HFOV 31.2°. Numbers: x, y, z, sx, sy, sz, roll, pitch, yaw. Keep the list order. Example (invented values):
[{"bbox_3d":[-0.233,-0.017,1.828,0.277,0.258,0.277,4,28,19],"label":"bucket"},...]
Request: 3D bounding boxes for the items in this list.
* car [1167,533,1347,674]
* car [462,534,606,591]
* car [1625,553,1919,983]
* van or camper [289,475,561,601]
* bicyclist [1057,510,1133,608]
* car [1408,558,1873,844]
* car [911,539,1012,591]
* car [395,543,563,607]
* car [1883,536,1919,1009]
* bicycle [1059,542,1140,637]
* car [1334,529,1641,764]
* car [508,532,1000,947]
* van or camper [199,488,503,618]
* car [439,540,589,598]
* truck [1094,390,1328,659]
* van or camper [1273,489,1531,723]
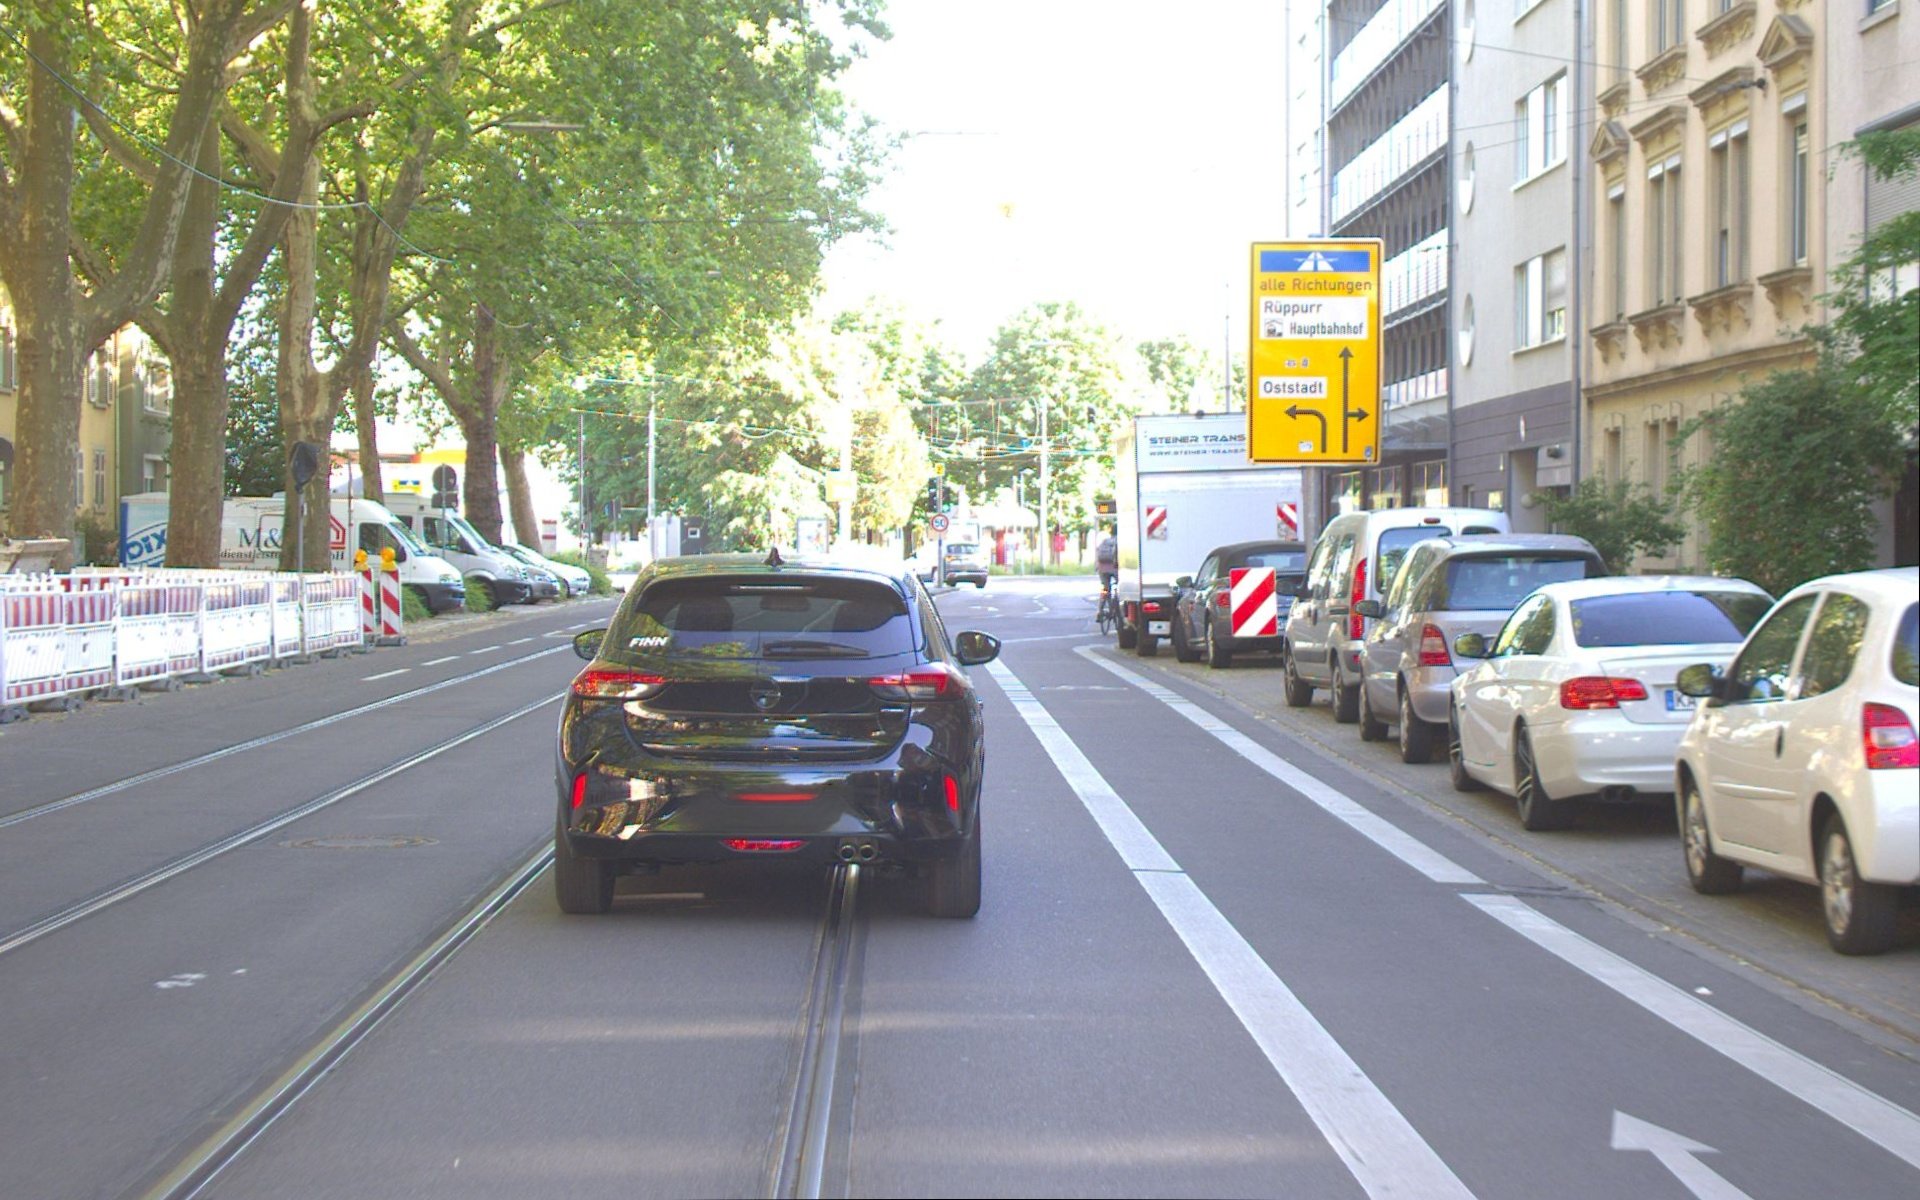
[{"bbox_3d":[3.525,0.005,41.429,1.730,1.552,4.152,-2,1,0],"label":"car"},{"bbox_3d":[-12.732,-1.125,102.882,4.167,1.665,1.965,0,1,-4],"label":"car"},{"bbox_3d":[3.963,0.577,14.298,1.591,1.521,3.835,-1,1,0],"label":"car"},{"bbox_3d":[-12.011,-1.392,77.459,5.723,2.635,2.269,2,1,0],"label":"van or camper"},{"bbox_3d":[2.321,-0.712,59.056,1.090,1.641,1.400,1,1,10],"label":"bicyclist"},{"bbox_3d":[3.825,0.494,20.118,1.659,1.394,4.740,-1,1,-1],"label":"car"},{"bbox_3d":[0.031,-1.220,117.754,1.993,1.690,4.741,-2,1,-19],"label":"car"},{"bbox_3d":[-12.235,-0.638,87.575,3.987,1.510,1.650,2,1,1],"label":"car"},{"bbox_3d":[4.059,0.617,10.070,1.526,1.584,3.752,2,1,-2],"label":"car"},{"bbox_3d":[2.427,-0.205,59.211,0.916,1.555,3.403,1,1,10],"label":"bicycle"},{"bbox_3d":[3.776,0.281,25.133,1.660,1.575,3.589,-1,1,0],"label":"car"},{"bbox_3d":[-0.802,0.476,14.665,1.781,1.491,4.000,1,1,-1],"label":"car"},{"bbox_3d":[-12.041,-0.932,68.214,5.502,2.371,2.269,2,1,3],"label":"van or camper"},{"bbox_3d":[-12.569,-0.880,96.977,3.987,1.510,1.650,2,1,1],"label":"car"},{"bbox_3d":[3.324,-1.010,47.190,2.538,3.326,7.195,-2,1,0],"label":"truck"},{"bbox_3d":[3.772,0.006,29.969,1.669,1.876,4.211,-1,1,0],"label":"van or camper"}]
